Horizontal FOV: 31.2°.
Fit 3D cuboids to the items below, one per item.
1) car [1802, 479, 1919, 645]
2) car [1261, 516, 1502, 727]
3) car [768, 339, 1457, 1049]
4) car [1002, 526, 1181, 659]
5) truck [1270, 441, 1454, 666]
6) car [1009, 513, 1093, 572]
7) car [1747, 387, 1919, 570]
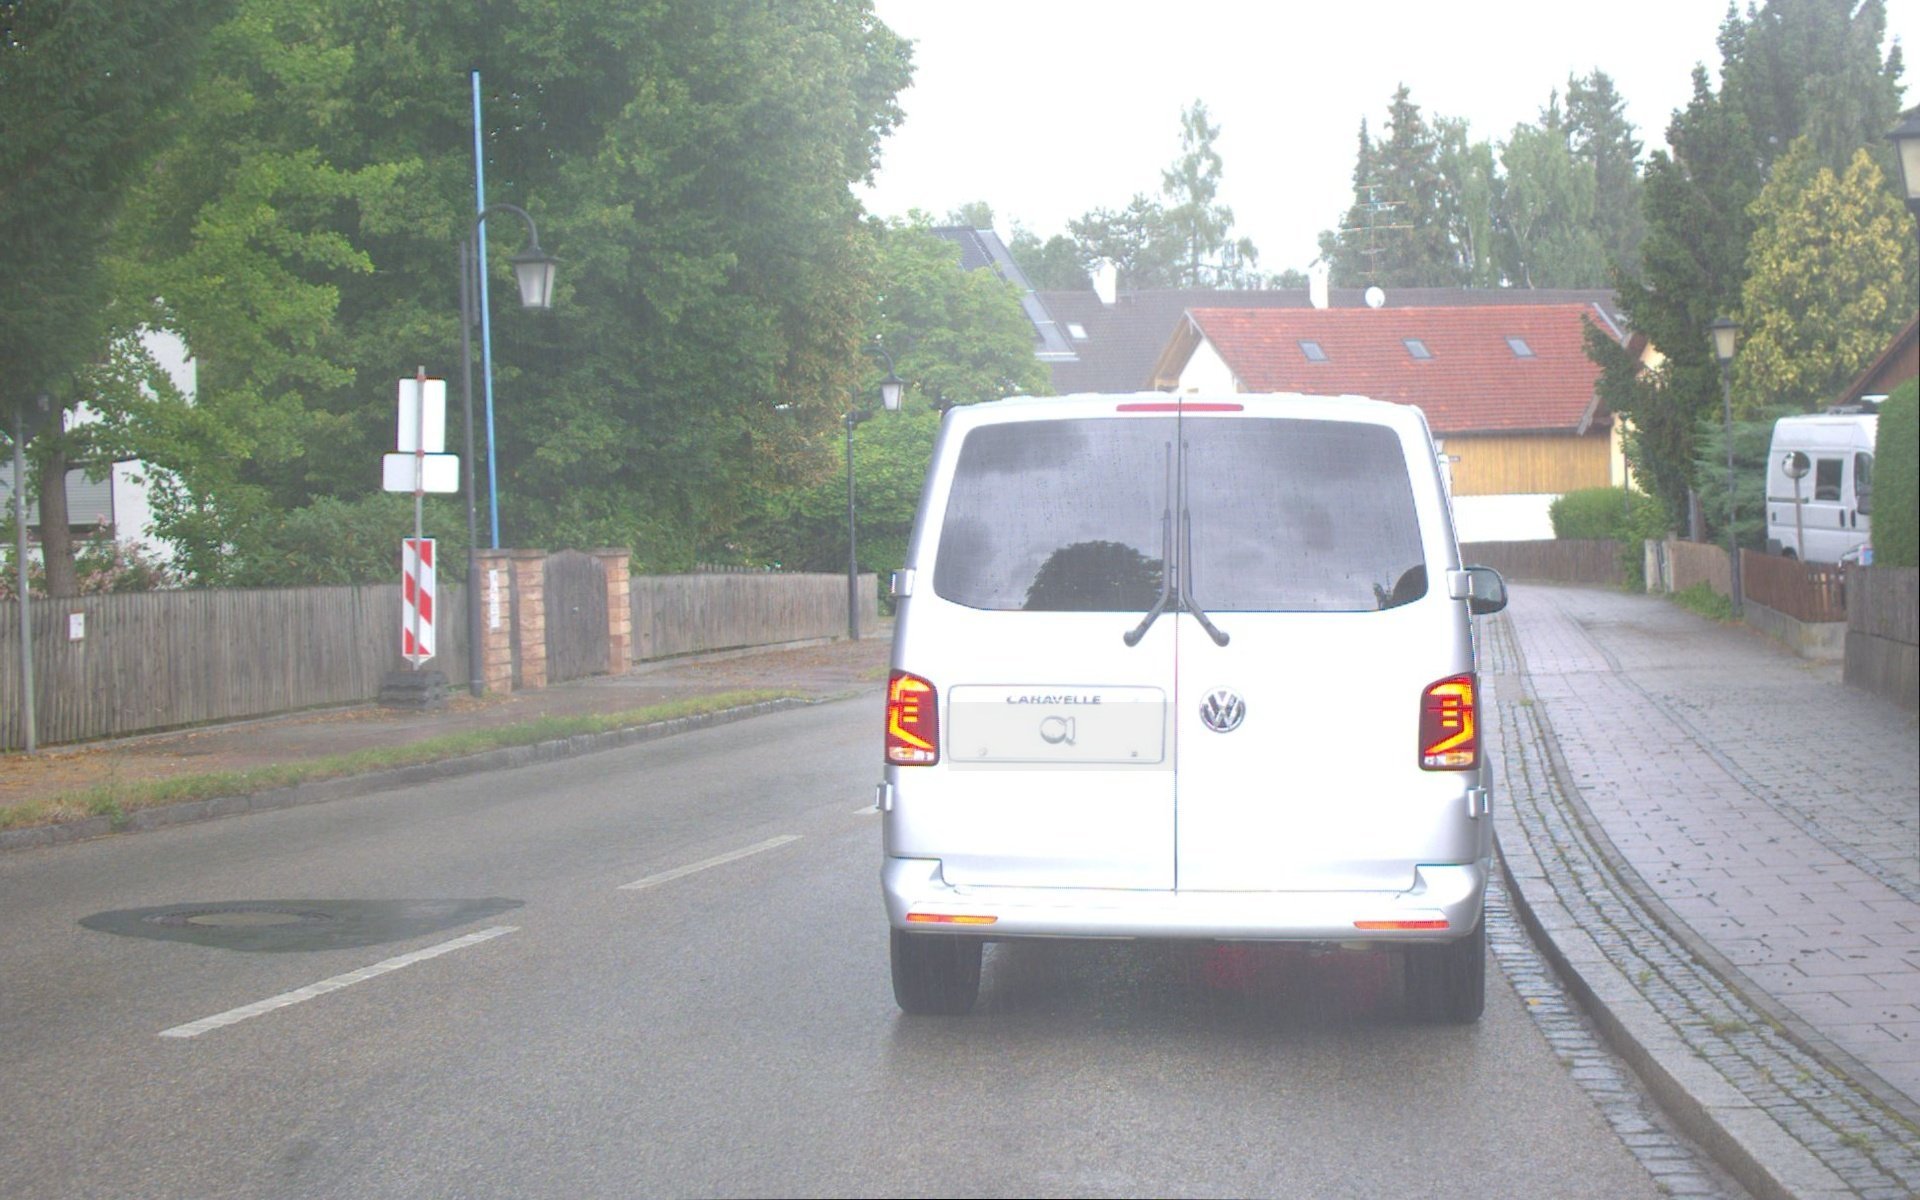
[{"bbox_3d":[11.557,-0.475,38.079,4.094,1.745,1.694,-1,3,5],"label":"car"},{"bbox_3d":[3.476,0.151,28.154,1.801,1.583,3.999,1,0,8],"label":"car"},{"bbox_3d":[0.704,0.246,11.855,1.801,2.007,3.998,1,0,11],"label":"car"},{"bbox_3d":[1.789,-0.106,45.362,1.784,1.657,4.444,0,0,10],"label":"car"},{"bbox_3d":[5.942,-0.661,50.320,2.476,3.063,6.294,1,0,8],"label":"truck"},{"bbox_3d":[3.195,-2.012,121.202,1.993,2.007,4.001,1,0,-13],"label":"car"},{"bbox_3d":[11.777,-1.475,43.724,1.993,2.166,4.954,1,0,-5],"label":"car"}]
